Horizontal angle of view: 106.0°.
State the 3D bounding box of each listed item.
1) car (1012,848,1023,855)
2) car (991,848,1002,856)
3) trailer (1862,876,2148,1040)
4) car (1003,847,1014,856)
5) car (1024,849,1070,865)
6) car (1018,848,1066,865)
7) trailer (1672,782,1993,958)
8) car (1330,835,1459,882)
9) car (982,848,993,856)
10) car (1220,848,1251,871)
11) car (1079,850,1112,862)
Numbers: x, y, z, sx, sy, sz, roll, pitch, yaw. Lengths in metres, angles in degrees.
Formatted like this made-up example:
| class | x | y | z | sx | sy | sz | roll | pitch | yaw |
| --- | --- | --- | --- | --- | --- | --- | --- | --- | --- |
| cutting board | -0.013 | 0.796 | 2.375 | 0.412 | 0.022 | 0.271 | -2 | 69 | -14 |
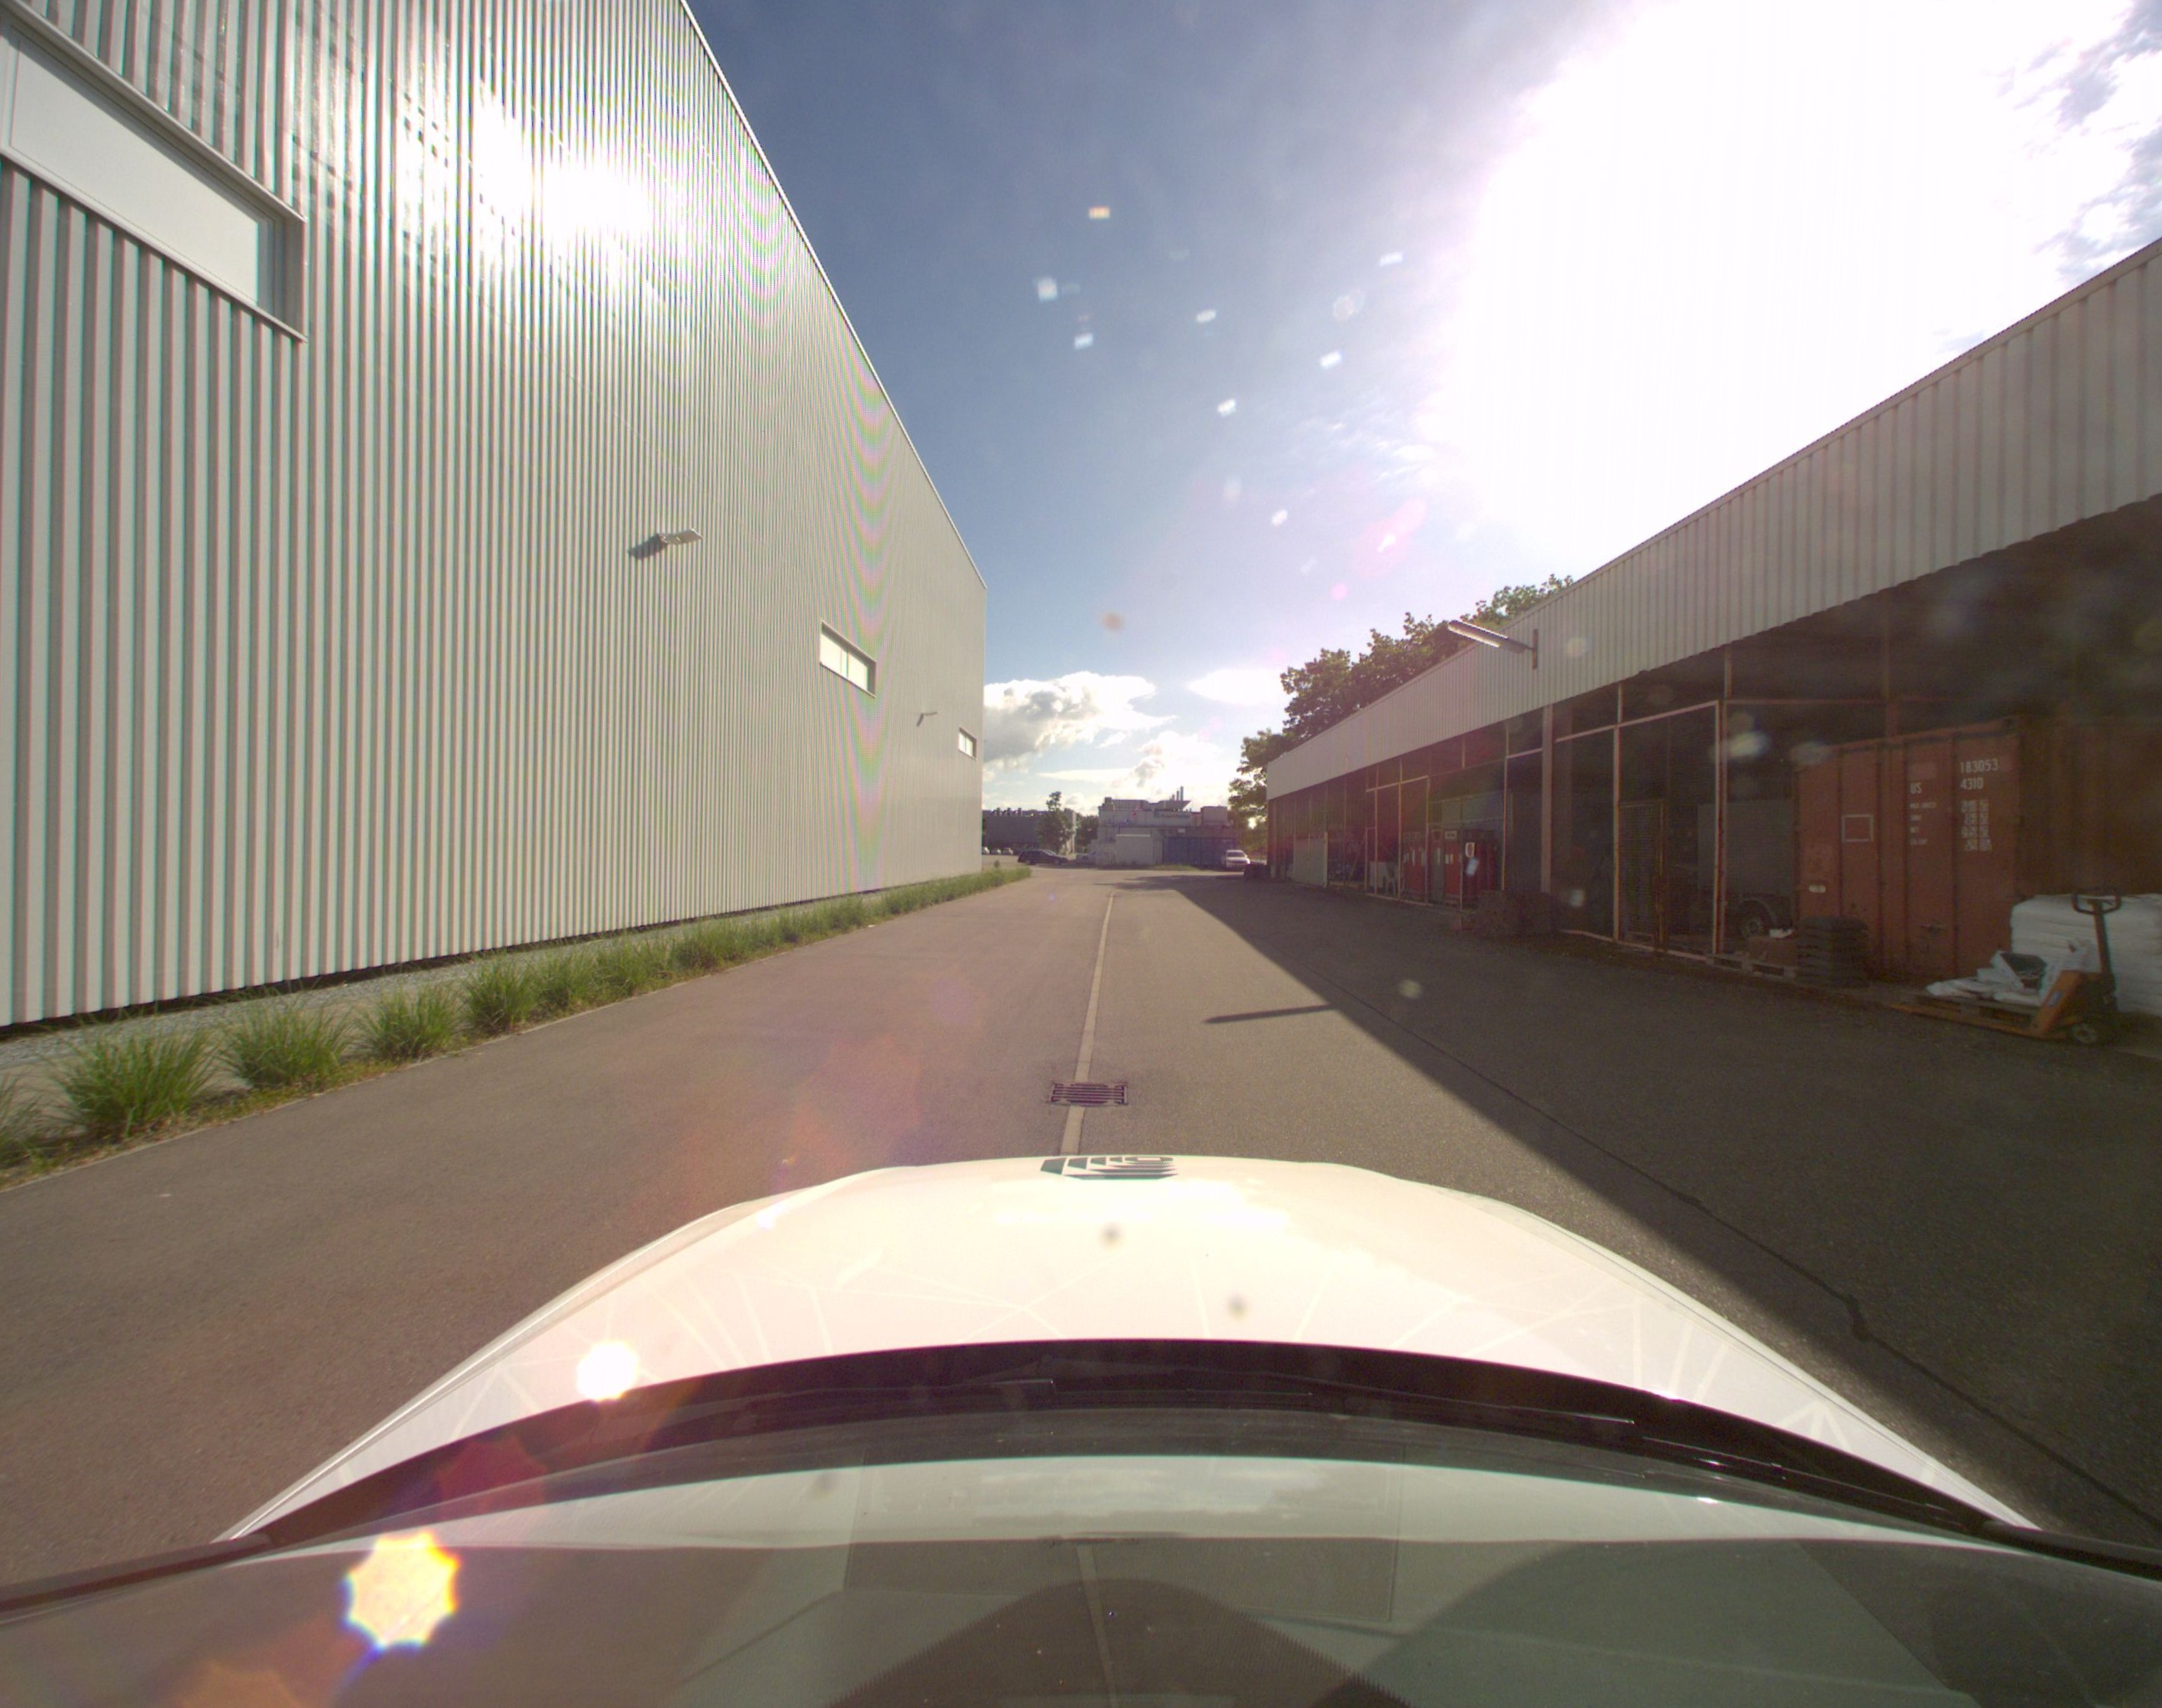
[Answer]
| class | x | y | z | sx | sy | sz | roll | pitch | yaw |
| --- | --- | --- | --- | --- | --- | --- | --- | --- | --- |
| car | -13.612 | -0.457 | 173.956 | 1.851 | 1.494 | 4.030 | -1 | 0 | 1 |
| car | -18.187 | -0.470 | 175.538 | 1.970 | 1.678 | 4.001 | -1 | 0 | 1 |
| trailer | 7.311 | 0.763 | 6.565 | 0.550 | 1.118 | 1.547 | -1 | 0 | 1 |
| car | -15.585 | -0.526 | 175.869 | 1.959 | 1.712 | 4.030 | -1 | 0 | 1 |
| car | -3.375 | 0.258 | 81.747 | 4.430 | 1.531 | 1.825 | -1 | 0 | 2 |
| car | -3.694 | 0.247 | 78.108 | 4.430 | 1.531 | 1.825 | -1 | 0 | 2 |
| trailer | 10.254 | 0.192 | 11.407 | 1.913 | 2.143 | 2.805 | -1 | 0 | 1 |
| car | 13.211 | 0.185 | 34.492 | 4.762 | 1.916 | 1.996 | 0 | 0 | -6 |
| car | -20.284 | -0.481 | 176.005 | 1.792 | 1.712 | 4.049 | -1 | 0 | 1 |
| car | 12.292 | 0.414 | 65.029 | 1.970 | 1.602 | 4.383 | -1 | 1 | 4 |
| car | 1.885 | 0.286 | 105.831 | 4.286 | 1.457 | 1.825 | -1 | 0 | 2 |
